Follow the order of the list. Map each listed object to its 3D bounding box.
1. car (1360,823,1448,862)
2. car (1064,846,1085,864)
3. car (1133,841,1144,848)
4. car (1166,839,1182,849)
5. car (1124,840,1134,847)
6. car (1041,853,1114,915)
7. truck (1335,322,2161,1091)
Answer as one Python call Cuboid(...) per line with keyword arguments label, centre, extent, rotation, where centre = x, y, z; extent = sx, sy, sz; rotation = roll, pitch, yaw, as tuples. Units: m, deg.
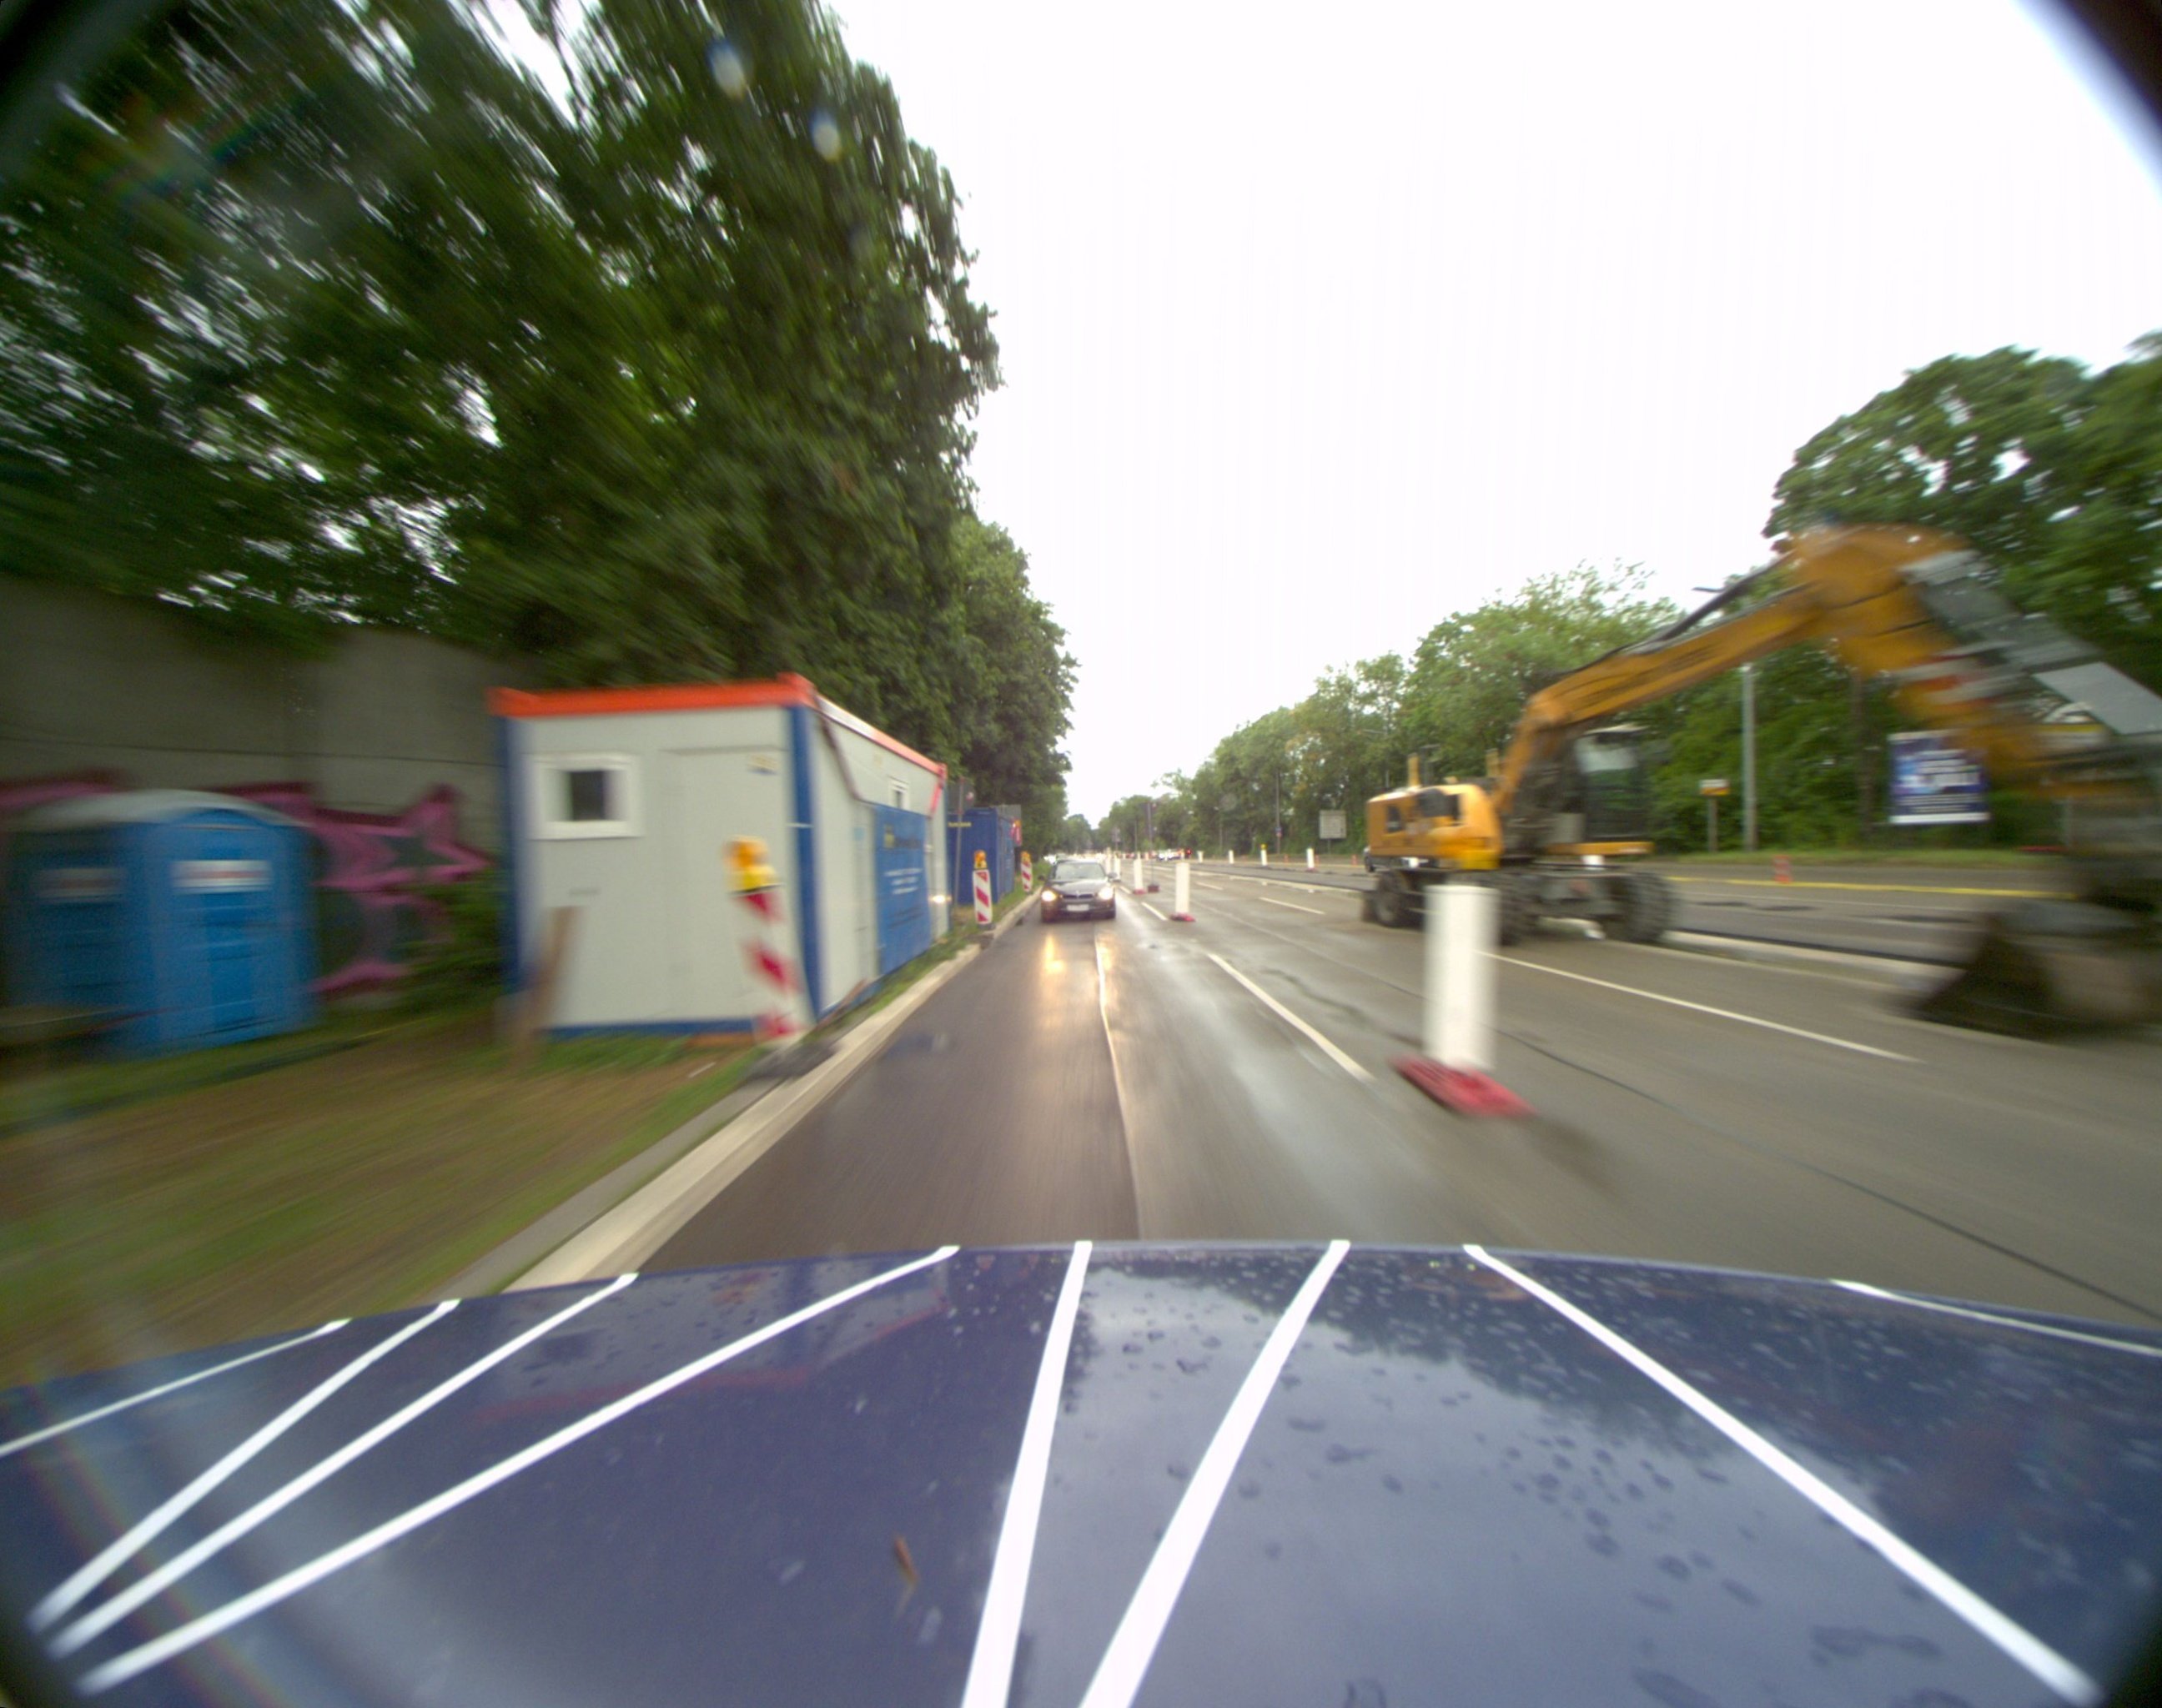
Cuboid(label="car", centre=(15.032, -0.537, 35.650), extent=(1.999, 1.619, 4.811), rotation=(-3, 1, 0))
Cuboid(label="car", centre=(-0.654, 0.038, 76.174), extent=(1.999, 1.707, 3.999), rotation=(-1, 1, -1))
Cuboid(label="car", centre=(12.699, -1.995, 166.952), extent=(1.781, 1.479, 4.195), rotation=(-3, 1, -3))
Cuboid(label="car", centre=(15.493, -1.660, 126.485), extent=(1.895, 1.651, 4.892), rotation=(-3, 1, -2))
Cuboid(label="car", centre=(11.924, -2.648, 188.328), extent=(2.027, 1.715, 5.011), rotation=(-3, 1, -2))
Cuboid(label="car", centre=(-0.087, 0.680, 19.437), extent=(1.658, 1.409, 4.128), rotation=(0, 0, 0))
Cuboid(label="truck", centre=(6.888, -0.901, 9.661), extent=(2.905, 4.235, 10.751), rotation=(-3, 1, -4))
